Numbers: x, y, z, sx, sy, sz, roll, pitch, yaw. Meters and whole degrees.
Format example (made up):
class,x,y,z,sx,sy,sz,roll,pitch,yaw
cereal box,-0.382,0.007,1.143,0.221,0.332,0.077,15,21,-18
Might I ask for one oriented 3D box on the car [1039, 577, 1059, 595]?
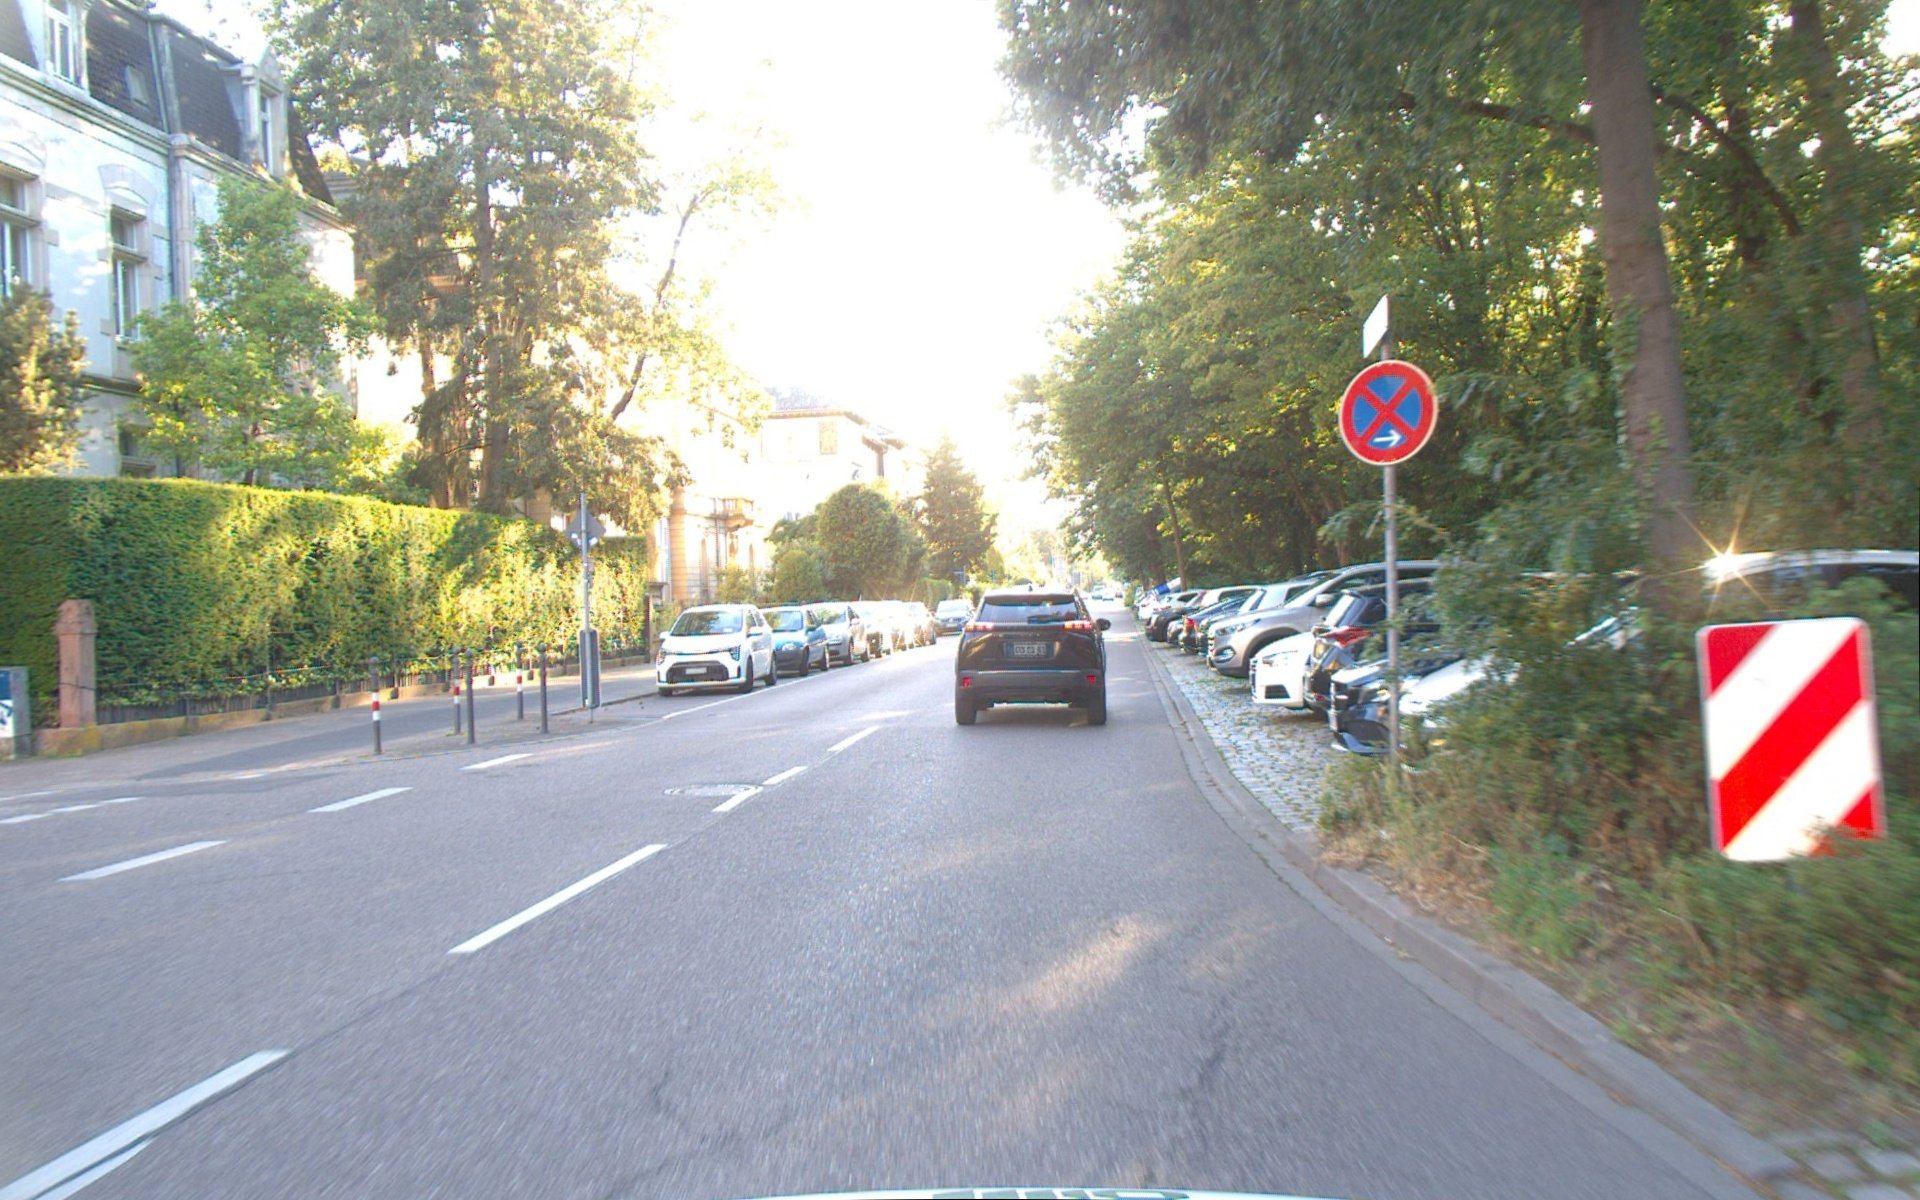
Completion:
class,x,y,z,sx,sy,sz,roll,pitch,yaw
car,9.587,-1.489,178.442,1.951,1.847,4.003,-2,0,5

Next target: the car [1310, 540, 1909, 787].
class,x,y,z,sx,sy,sz,roll,pitch,yaw
car,4.800,0.438,12.697,3.903,1.581,1.727,-3,2,5

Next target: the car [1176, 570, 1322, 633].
class,x,y,z,sx,sy,sz,roll,pitch,yaw
car,8.090,0.034,46.470,3.730,1.474,1.877,-4,0,1

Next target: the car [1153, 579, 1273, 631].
class,x,y,z,sx,sy,sz,roll,pitch,yaw
car,8.506,0.175,55.927,3.730,1.474,1.826,-4,0,1

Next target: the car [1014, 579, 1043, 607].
class,x,y,z,sx,sy,sz,roll,pitch,yaw
car,5.301,-0.525,127.520,1.951,2.049,4.003,-2,0,6

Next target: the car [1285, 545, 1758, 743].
class,x,y,z,sx,sy,sz,roll,pitch,yaw
car,5.201,0.381,15.747,3.903,1.581,1.753,-3,2,5

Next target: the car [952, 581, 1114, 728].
class,x,y,z,sx,sy,sz,roll,pitch,yaw
car,0.796,0.577,20.259,1.735,1.595,4.108,0,1,-1

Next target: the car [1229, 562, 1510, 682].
class,x,y,z,sx,sy,sz,roll,pitch,yaw
car,6.211,0.328,25.438,3.903,1.581,1.726,-3,0,5

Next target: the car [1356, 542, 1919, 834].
class,x,y,z,sx,sy,sz,roll,pitch,yaw
car,4.698,0.507,10.669,3.903,1.581,1.727,-3,1,5

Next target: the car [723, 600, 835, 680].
class,x,y,z,sx,sy,sz,roll,pitch,yaw
car,-3.752,0.799,34.905,1.580,1.511,3.744,-3,0,5

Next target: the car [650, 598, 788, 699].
class,x,y,z,sx,sy,sz,roll,pitch,yaw
car,-4.192,0.798,29.246,1.580,1.541,3.714,-4,0,4

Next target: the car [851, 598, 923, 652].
class,x,y,z,sx,sy,sz,roll,pitch,yaw
car,-2.205,0.743,50.834,1.579,1.492,4.039,-3,0,6

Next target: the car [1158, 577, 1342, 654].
class,x,y,z,sx,sy,sz,roll,pitch,yaw
car,6.728,0.356,38.603,4.069,1.474,1.732,-4,0,8

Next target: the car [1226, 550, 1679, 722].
class,x,y,z,sx,sy,sz,roll,pitch,yaw
car,5.327,0.369,18.269,4.394,1.581,1.856,-3,0,-2

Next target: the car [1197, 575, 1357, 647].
class,x,y,z,sx,sy,sz,roll,pitch,yaw
car,7.801,0.264,41.007,3.727,1.474,1.828,-4,0,8

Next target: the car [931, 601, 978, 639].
class,x,y,z,sx,sy,sz,roll,pitch,yaw
car,-0.218,0.842,71.804,1.716,1.438,3.766,-4,0,4

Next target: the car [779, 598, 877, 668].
class,x,y,z,sx,sy,sz,roll,pitch,yaw
car,-3.097,0.742,39.643,1.579,1.492,4.039,-3,0,6

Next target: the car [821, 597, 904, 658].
class,x,y,z,sx,sy,sz,roll,pitch,yaw
car,-2.631,0.711,45.403,1.579,1.492,4.039,-3,0,6

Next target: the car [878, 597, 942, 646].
class,x,y,z,sx,sy,sz,roll,pitch,yaw
car,-1.638,0.698,55.556,1.579,1.492,4.039,-3,0,6

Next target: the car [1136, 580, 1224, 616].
class,x,y,z,sx,sy,sz,roll,pitch,yaw
car,10.379,-0.110,78.201,3.905,1.552,1.758,-2,0,0

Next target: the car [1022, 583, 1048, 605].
class,x,y,z,sx,sy,sz,roll,pitch,yaw
car,6.317,-0.533,139.358,1.951,1.799,4.002,-2,0,5

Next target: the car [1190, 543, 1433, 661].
class,x,y,z,sx,sy,sz,roll,pitch,yaw
car,6.496,0.036,30.981,4.156,1.820,1.885,-4,0,5

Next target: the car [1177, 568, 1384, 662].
class,x,y,z,sx,sy,sz,roll,pitch,yaw
car,6.456,0.294,33.654,3.903,1.581,1.726,-4,0,5

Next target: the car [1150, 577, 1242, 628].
class,x,y,z,sx,sy,sz,roll,pitch,yaw
car,10.727,0.118,75.410,3.905,2.125,1.758,-2,0,0

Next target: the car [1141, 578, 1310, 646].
class,x,y,z,sx,sy,sz,roll,pitch,yaw
car,6.980,0.299,43.759,4.154,1.474,2.022,-4,0,3

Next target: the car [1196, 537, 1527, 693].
class,x,y,z,sx,sy,sz,roll,pitch,yaw
car,5.606,0.204,23.564,4.217,1.835,2.037,-4,0,4

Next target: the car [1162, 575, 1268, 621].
class,x,y,z,sx,sy,sz,roll,pitch,yaw
car,10.137,-0.098,65.920,3.905,1.652,1.758,-2,0,0
